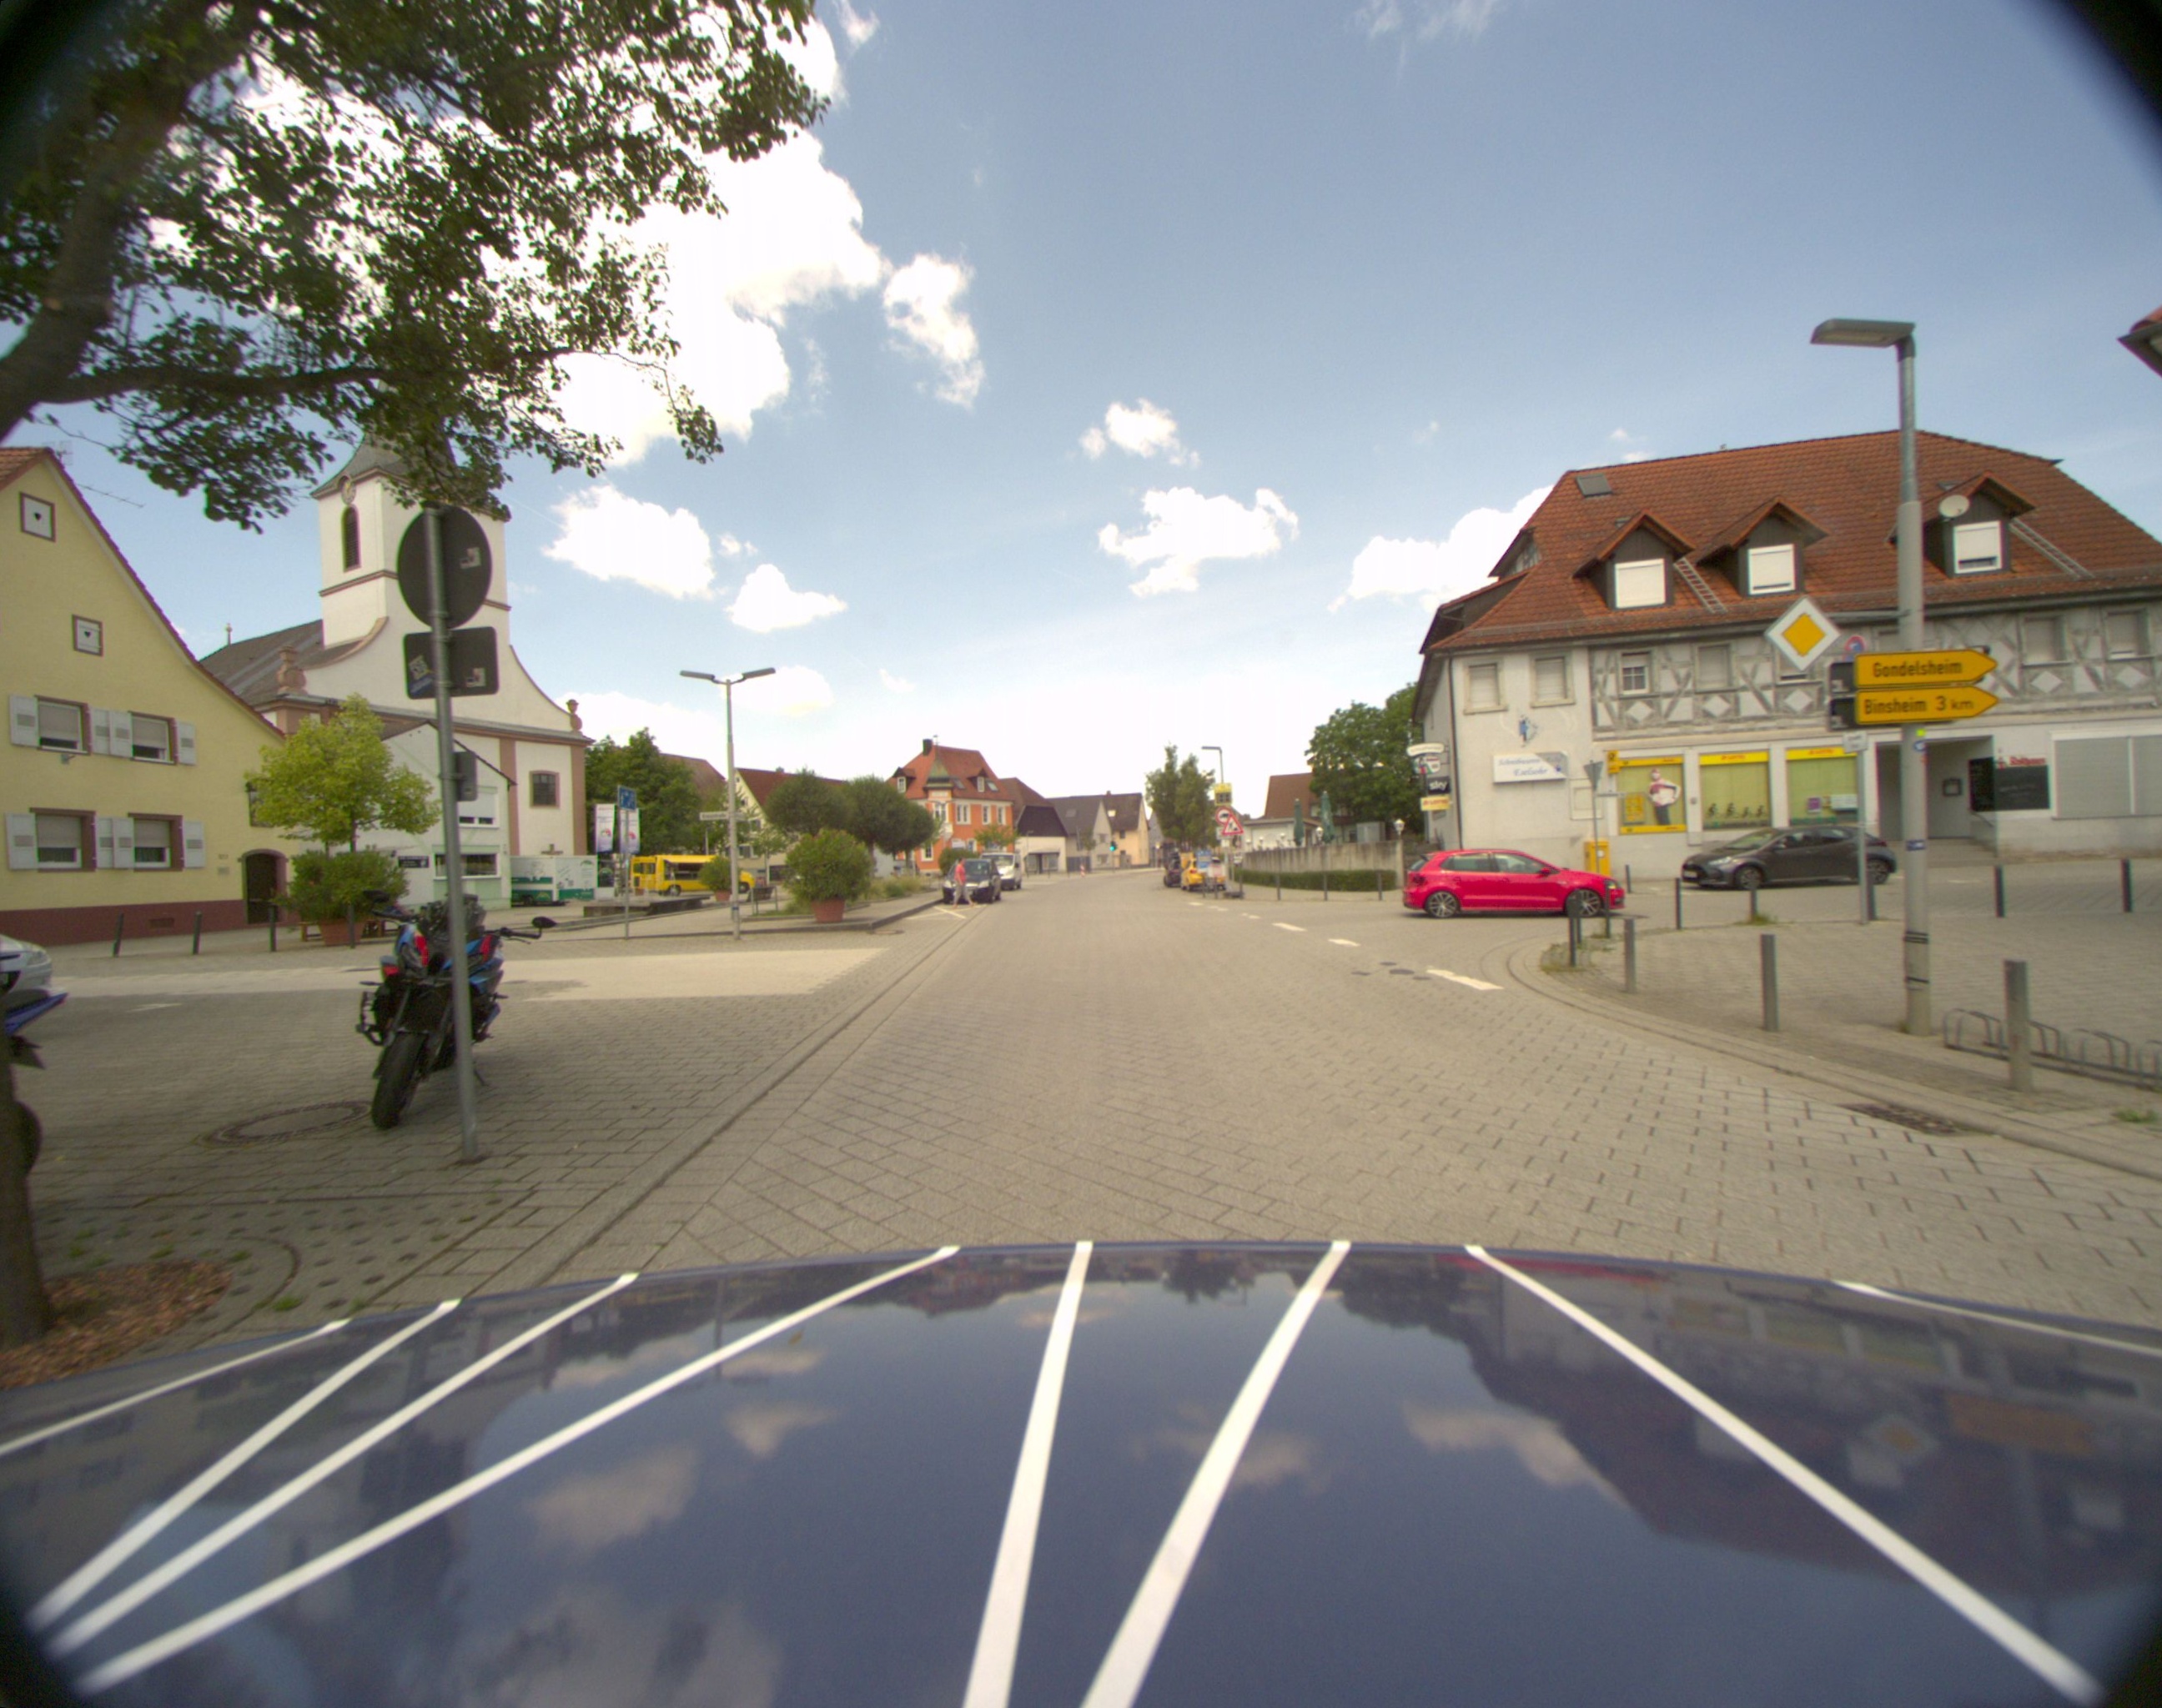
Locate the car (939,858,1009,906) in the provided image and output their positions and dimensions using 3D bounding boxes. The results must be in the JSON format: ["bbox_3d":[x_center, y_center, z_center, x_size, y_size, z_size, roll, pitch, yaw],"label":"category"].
[{"bbox_3d":[-3.794,0.952,27.600,1.773,1.555,4.419,0,0,2],"label":"car"}]

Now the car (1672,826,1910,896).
[{"bbox_3d":[17.375,0.172,18.806,3.948,1.509,1.775,-2,0,10],"label":"car"}]

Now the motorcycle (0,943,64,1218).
[{"bbox_3d":[-5.775,1.100,2.799,0.961,1.291,2.227,0,0,8],"label":"motorcycle"}]

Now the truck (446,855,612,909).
[{"bbox_3d":[-28.200,1.399,38.914,6.813,2.483,2.960,-2,0,12],"label":"truck"}]

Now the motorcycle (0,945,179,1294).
[{"bbox_3d":[-4.505,1.084,2.492,0.630,1.291,2.181,-1,0,-6],"label":"motorcycle"}]

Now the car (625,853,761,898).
[{"bbox_3d":[-23.873,1.239,46.987,6.978,2.462,2.646,-2,0,-44],"label":"car"}]

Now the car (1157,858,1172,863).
[{"bbox_3d":[16.788,1.340,153.636,1.804,1.053,3.996,-2,0,-13],"label":"car"}]

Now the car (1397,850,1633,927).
[{"bbox_3d":[8.591,0.690,15.443,3.879,1.403,1.786,-2,0,19],"label":"car"}]

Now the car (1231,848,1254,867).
[{"bbox_3d":[19.688,0.378,92.503,1.889,2.173,5.038,-2,0,22],"label":"car"}]

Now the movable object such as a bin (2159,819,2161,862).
[{"bbox_3d":[28.036,-0.351,19.296,0.493,1.110,0.586,-1,1,10],"label":"movable object such as a bin"}]

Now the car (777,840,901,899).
[{"bbox_3d":[-12.962,0.724,41.471,2.756,2.946,7.122,-1,1,18],"label":"car"}]

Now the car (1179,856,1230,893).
[{"bbox_3d":[5.313,0.870,33.032,1.672,1.466,3.964,-2,0,2],"label":"car"}]

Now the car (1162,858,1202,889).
[{"bbox_3d":[5.220,0.977,39.705,1.820,1.415,4.539,-2,0,5],"label":"car"}]

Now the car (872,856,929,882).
[{"bbox_3d":[-15.617,1.276,66.056,1.995,2.002,5.503,-2,0,22],"label":"car"}]

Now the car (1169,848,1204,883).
[{"bbox_3d":[6.543,0.663,47.078,1.990,1.978,5.047,-2,0,8],"label":"car"}]

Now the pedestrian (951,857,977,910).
[{"bbox_3d":[-3.669,0.906,23.810,0.640,1.619,0.620,-2,0,3],"label":"pedestrian"}]

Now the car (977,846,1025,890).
[{"bbox_3d":[-4.109,0.717,39.820,1.947,2.164,5.101,0,0,0],"label":"car"}]

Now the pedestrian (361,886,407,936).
[{"bbox_3d":[-18.668,1.509,20.352,0.535,1.277,0.791,0,1,39],"label":"pedestrian"}]

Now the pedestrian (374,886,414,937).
[{"bbox_3d":[-18.119,1.494,20.045,0.612,1.277,0.674,0,1,39],"label":"pedestrian"}]

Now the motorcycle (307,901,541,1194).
[{"bbox_3d":[-4.322,1.048,4.925,2.219,1.386,0.874,-2,0,43],"label":"motorcycle"}]
